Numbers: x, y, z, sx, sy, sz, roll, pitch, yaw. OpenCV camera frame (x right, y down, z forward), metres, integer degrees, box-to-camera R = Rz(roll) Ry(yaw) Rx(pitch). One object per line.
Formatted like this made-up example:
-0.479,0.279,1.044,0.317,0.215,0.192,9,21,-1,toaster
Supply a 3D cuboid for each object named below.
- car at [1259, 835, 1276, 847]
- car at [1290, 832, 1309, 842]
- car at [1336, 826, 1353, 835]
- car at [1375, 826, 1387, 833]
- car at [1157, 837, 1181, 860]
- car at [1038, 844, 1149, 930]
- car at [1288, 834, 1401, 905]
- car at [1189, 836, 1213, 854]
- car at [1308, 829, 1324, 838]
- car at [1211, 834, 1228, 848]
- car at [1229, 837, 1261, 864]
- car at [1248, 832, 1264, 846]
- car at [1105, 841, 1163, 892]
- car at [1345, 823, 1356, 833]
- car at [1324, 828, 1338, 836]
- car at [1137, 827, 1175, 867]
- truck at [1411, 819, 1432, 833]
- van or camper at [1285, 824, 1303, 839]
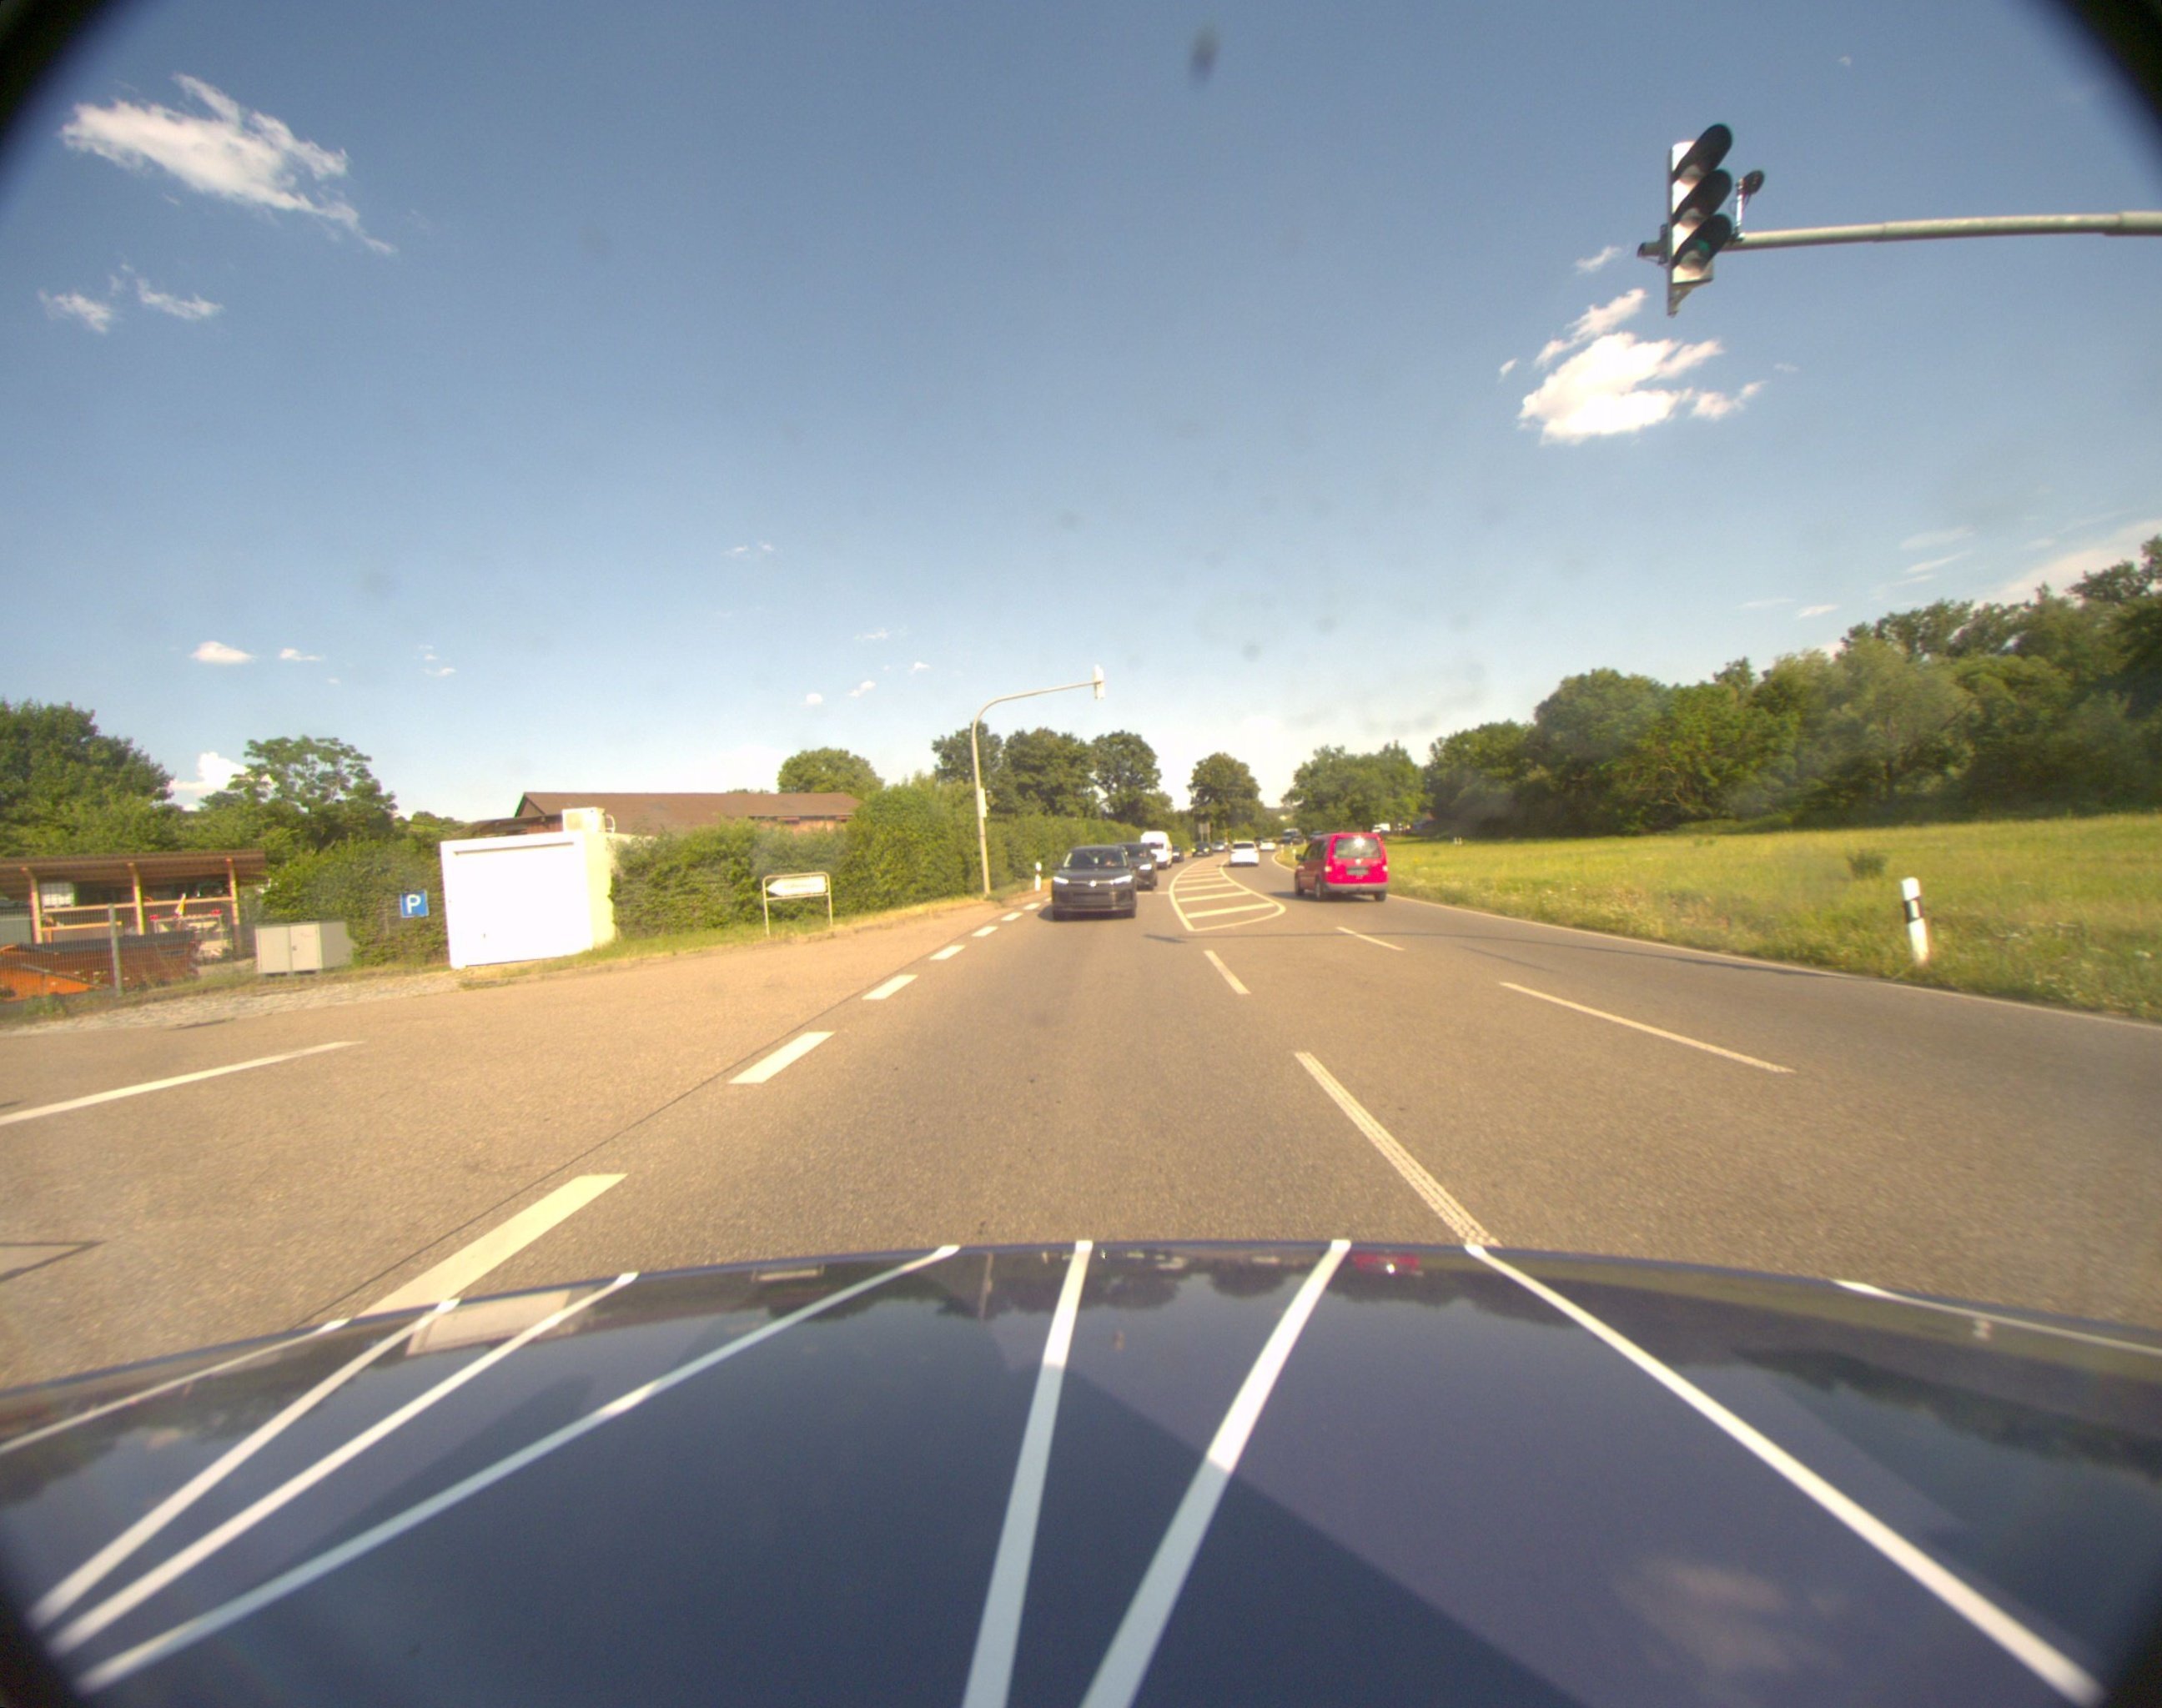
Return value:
22.409,-1.579,91.325,1.748,1.458,3.483,-1,1,17,car
34.660,-2.736,120.606,1.928,1.577,4.081,0,2,30,car
52.401,-4.660,151.157,1.995,1.543,4.006,-4,1,35,car
67.494,-5.489,170.739,1.463,1.493,3.648,-4,1,36,car
6.995,-0.472,60.106,1.692,1.718,3.670,-1,1,10,car
0.415,0.634,16.991,1.864,1.633,4.003,-1,1,10,car
7.276,0.397,21.424,1.884,1.765,4.322,-1,0,3,car
11.993,-0.900,75.867,1.671,1.718,3.672,-1,2,20,car
46.493,-4.071,150.314,1.995,1.543,4.006,-4,1,33,car
17.198,-1.610,94.039,1.632,1.550,3.420,0,2,18,car
10.544,-0.218,48.745,1.883,1.577,4.334,-1,0,13,car
27.020,-2.354,117.050,1.638,1.888,3.510,-4,1,24,car
2.001,0.411,27.765,1.658,1.720,3.807,-1,0,10,car
60.693,-5.934,171.237,1.405,2.002,3.240,-4,1,35,car
52.960,-4.634,160.912,1.995,1.543,4.006,-4,1,31,car
4.770,-0.478,47.850,1.843,2.338,4.792,-1,1,11,car
85.712,-7.068,191.140,2.918,3.194,6.693,-4,0,41,truck
38.491,-4.108,137.232,2.030,2.461,5.085,-4,1,26,van or camper
